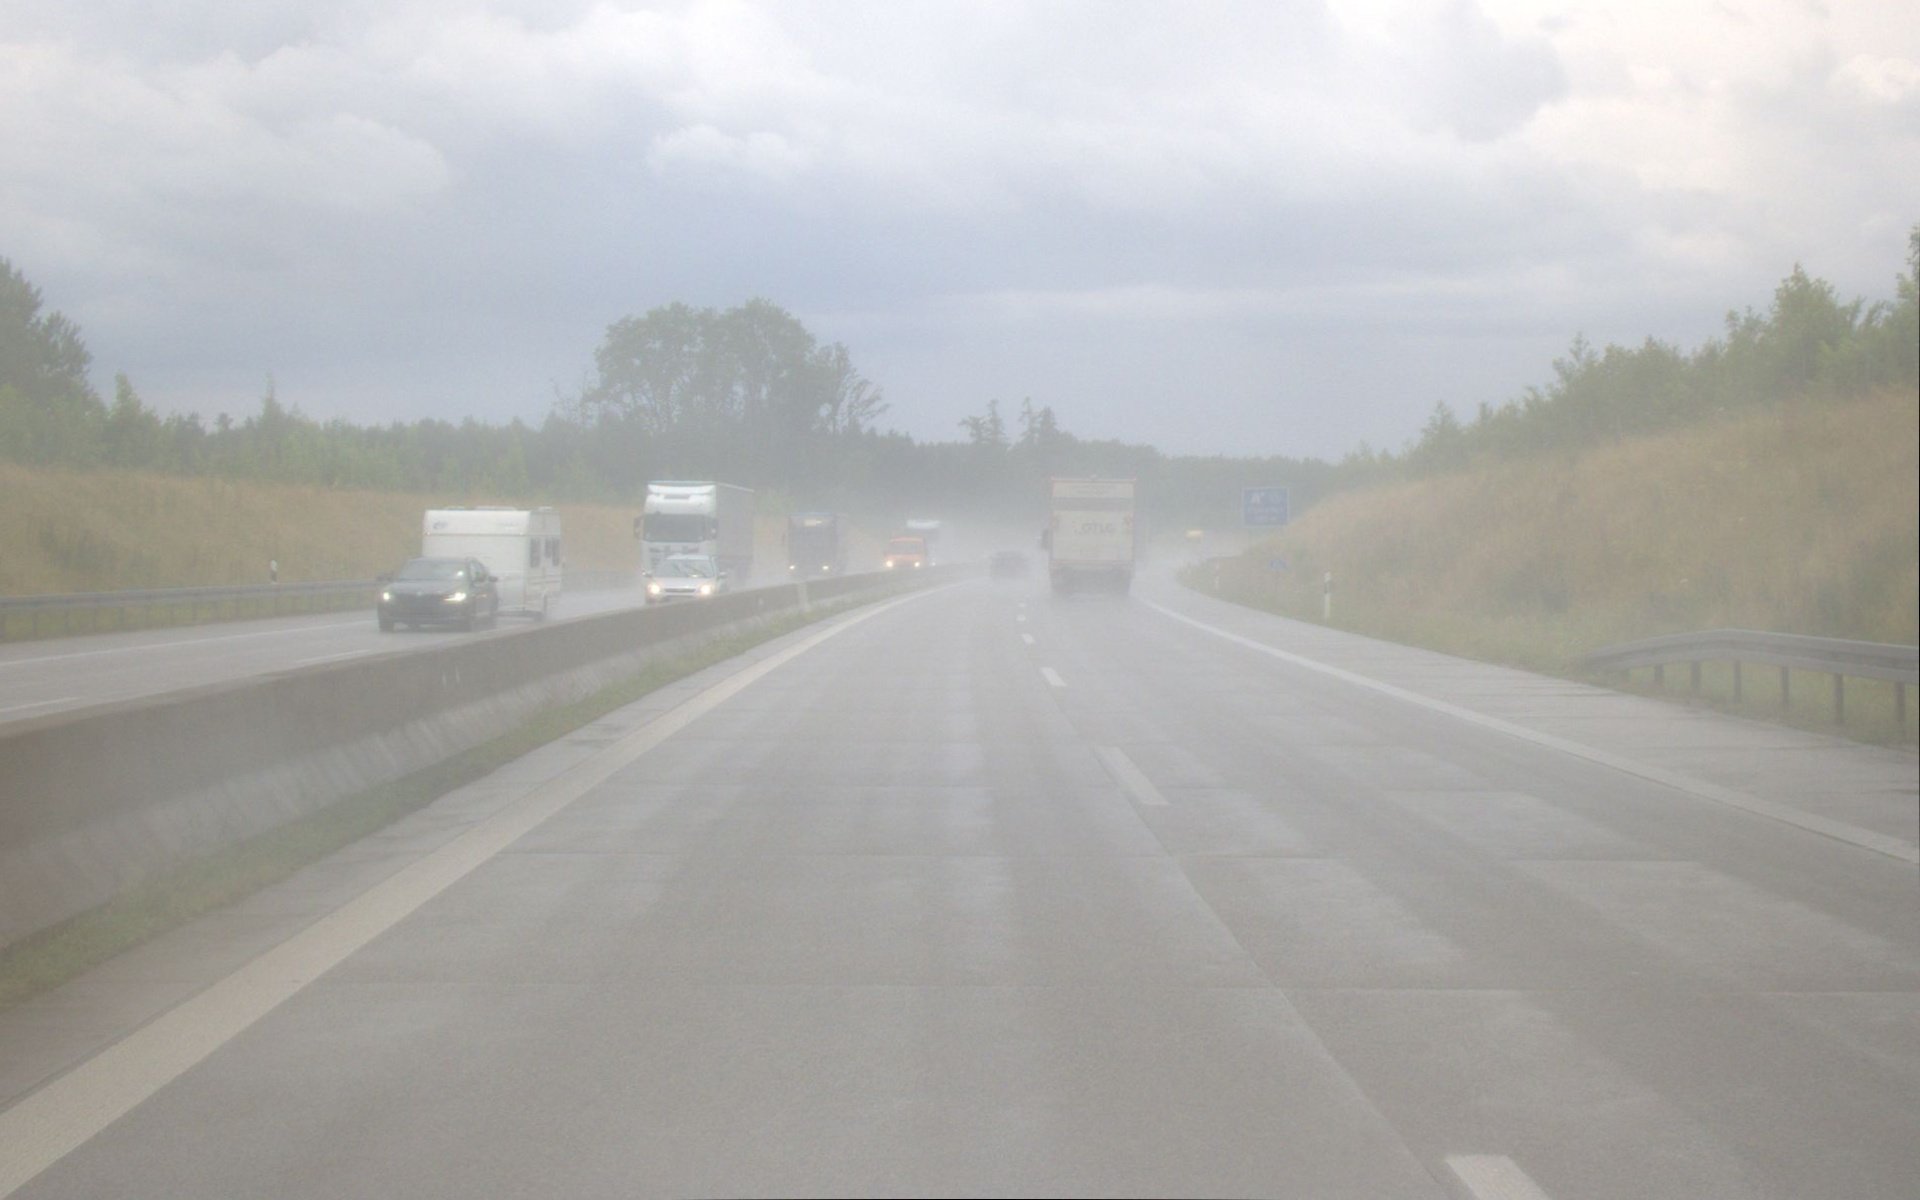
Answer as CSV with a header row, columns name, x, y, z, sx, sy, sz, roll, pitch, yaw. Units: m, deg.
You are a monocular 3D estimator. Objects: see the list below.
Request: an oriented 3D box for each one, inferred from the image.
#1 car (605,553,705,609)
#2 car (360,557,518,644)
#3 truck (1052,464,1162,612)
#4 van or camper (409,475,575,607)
name,x,y,z,sx,sy,sz,roll,pitch,yaw
car,-7.343,-0.483,83.204,1.993,1.306,4.511,0,1,0
car,-10.365,-0.026,68.796,2.286,1.552,5.182,2,1,0
truck,4.639,-1.981,106.839,3.244,4.421,8.245,0,2,4
van or camper,-10.171,-1.361,75.404,2.444,2.586,7.928,2,3,0
